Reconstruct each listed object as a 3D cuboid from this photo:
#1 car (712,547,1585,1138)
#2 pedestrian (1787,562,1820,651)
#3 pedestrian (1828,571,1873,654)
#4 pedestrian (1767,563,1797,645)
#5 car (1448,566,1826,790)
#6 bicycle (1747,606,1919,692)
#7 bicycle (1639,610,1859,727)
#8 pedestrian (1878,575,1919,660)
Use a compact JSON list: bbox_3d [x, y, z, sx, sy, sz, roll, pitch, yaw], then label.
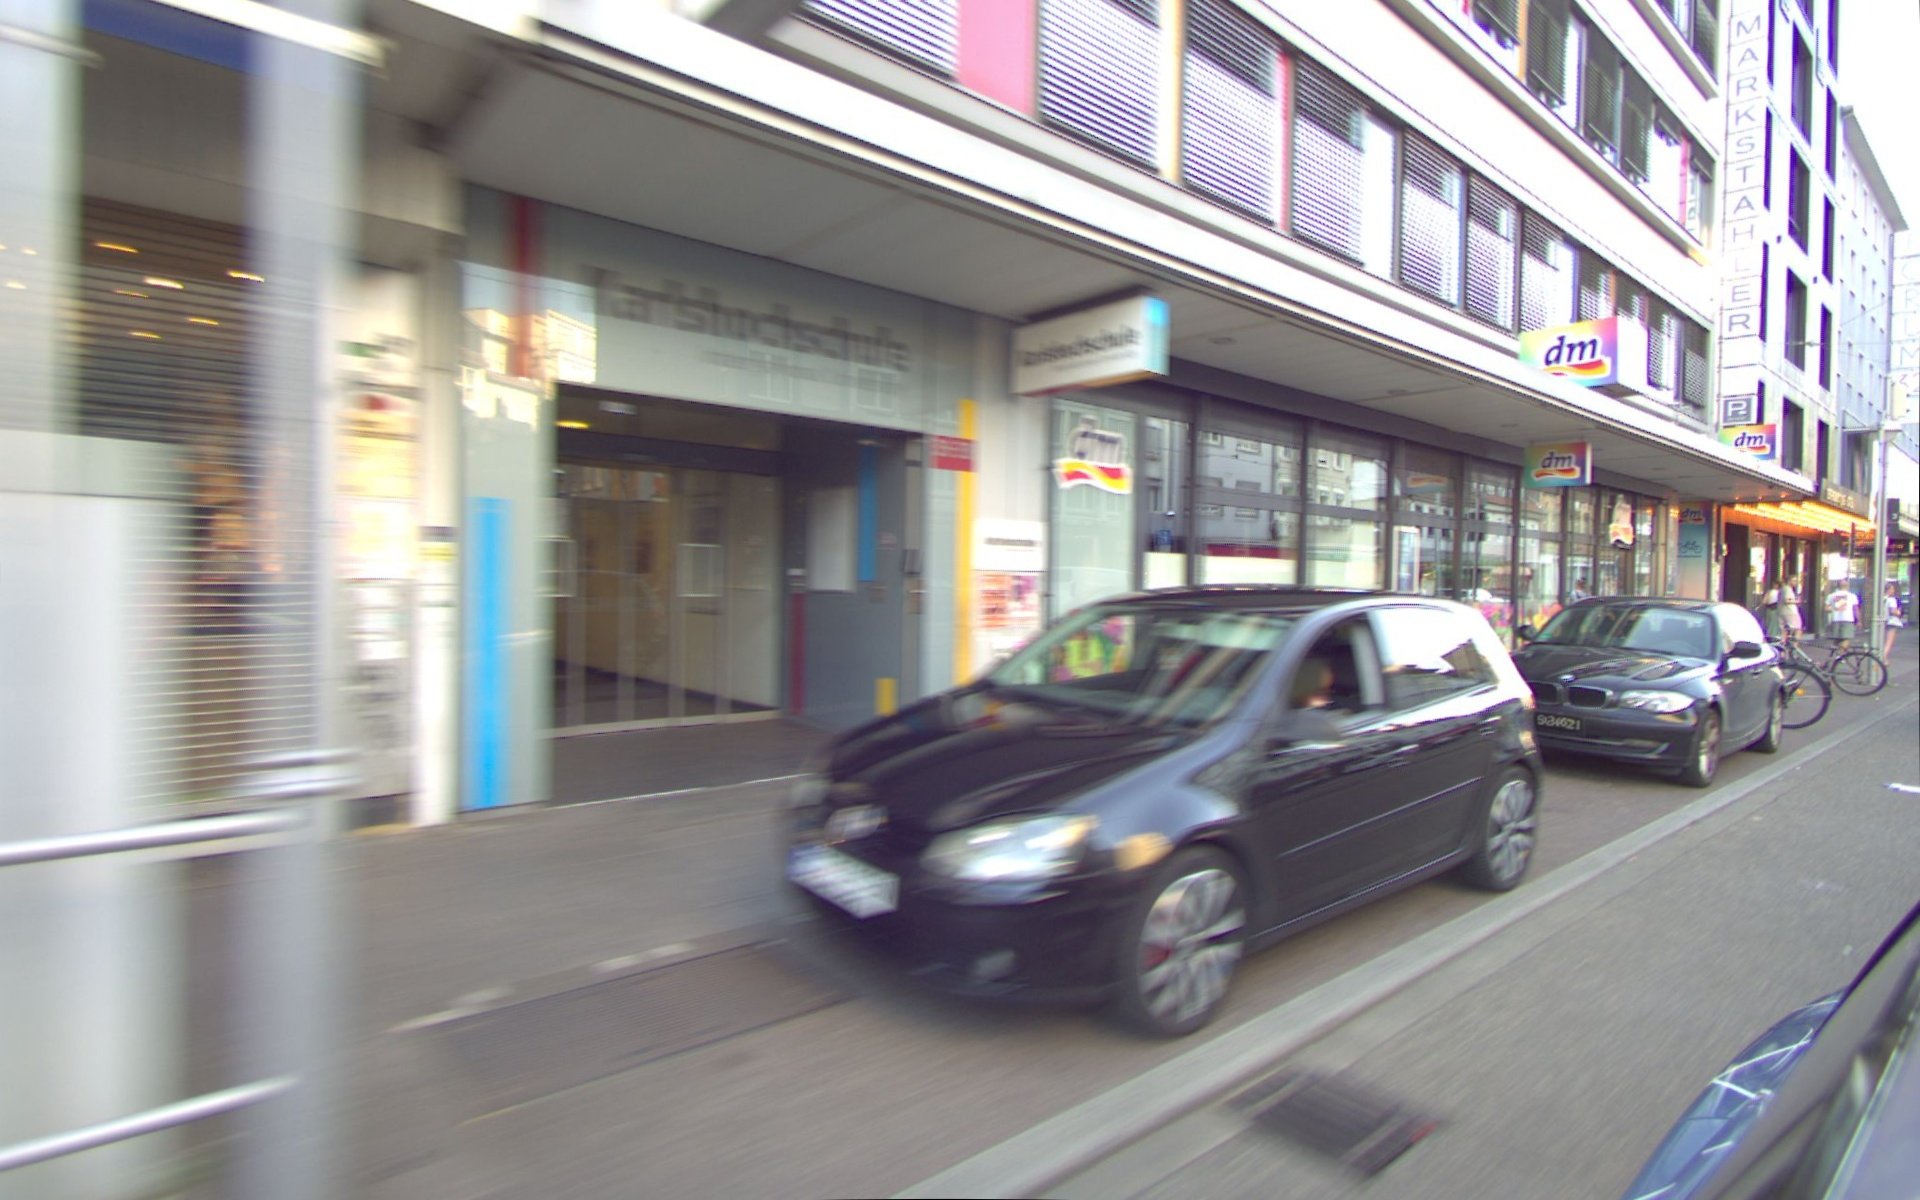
[{"bbox_3d":[1.145,0.594,4.641,4.094,1.530,1.724,0,3,-41],"label":"car"},{"bbox_3d":[18.618,0.136,22.342,0.414,1.922,0.456,0,1,-41],"label":"pedestrian"},{"bbox_3d":[19.356,0.255,21.994,0.594,1.775,0.610,0,1,-41],"label":"pedestrian"},{"bbox_3d":[19.433,0.087,23.929,0.414,1.922,0.452,0,1,-41],"label":"pedestrian"},{"bbox_3d":[6.260,0.520,9.167,4.183,1.530,1.748,0,3,-41],"label":"car"},{"bbox_3d":[13.226,0.711,15.368,0.665,1.090,1.888,0,4,-43],"label":"bicycle"},{"bbox_3d":[9.010,0.729,11.621,0.665,1.152,1.888,0,2,-43],"label":"bicycle"},{"bbox_3d":[19.829,0.358,21.336,0.635,1.748,0.605,0,1,-41],"label":"pedestrian"}]
